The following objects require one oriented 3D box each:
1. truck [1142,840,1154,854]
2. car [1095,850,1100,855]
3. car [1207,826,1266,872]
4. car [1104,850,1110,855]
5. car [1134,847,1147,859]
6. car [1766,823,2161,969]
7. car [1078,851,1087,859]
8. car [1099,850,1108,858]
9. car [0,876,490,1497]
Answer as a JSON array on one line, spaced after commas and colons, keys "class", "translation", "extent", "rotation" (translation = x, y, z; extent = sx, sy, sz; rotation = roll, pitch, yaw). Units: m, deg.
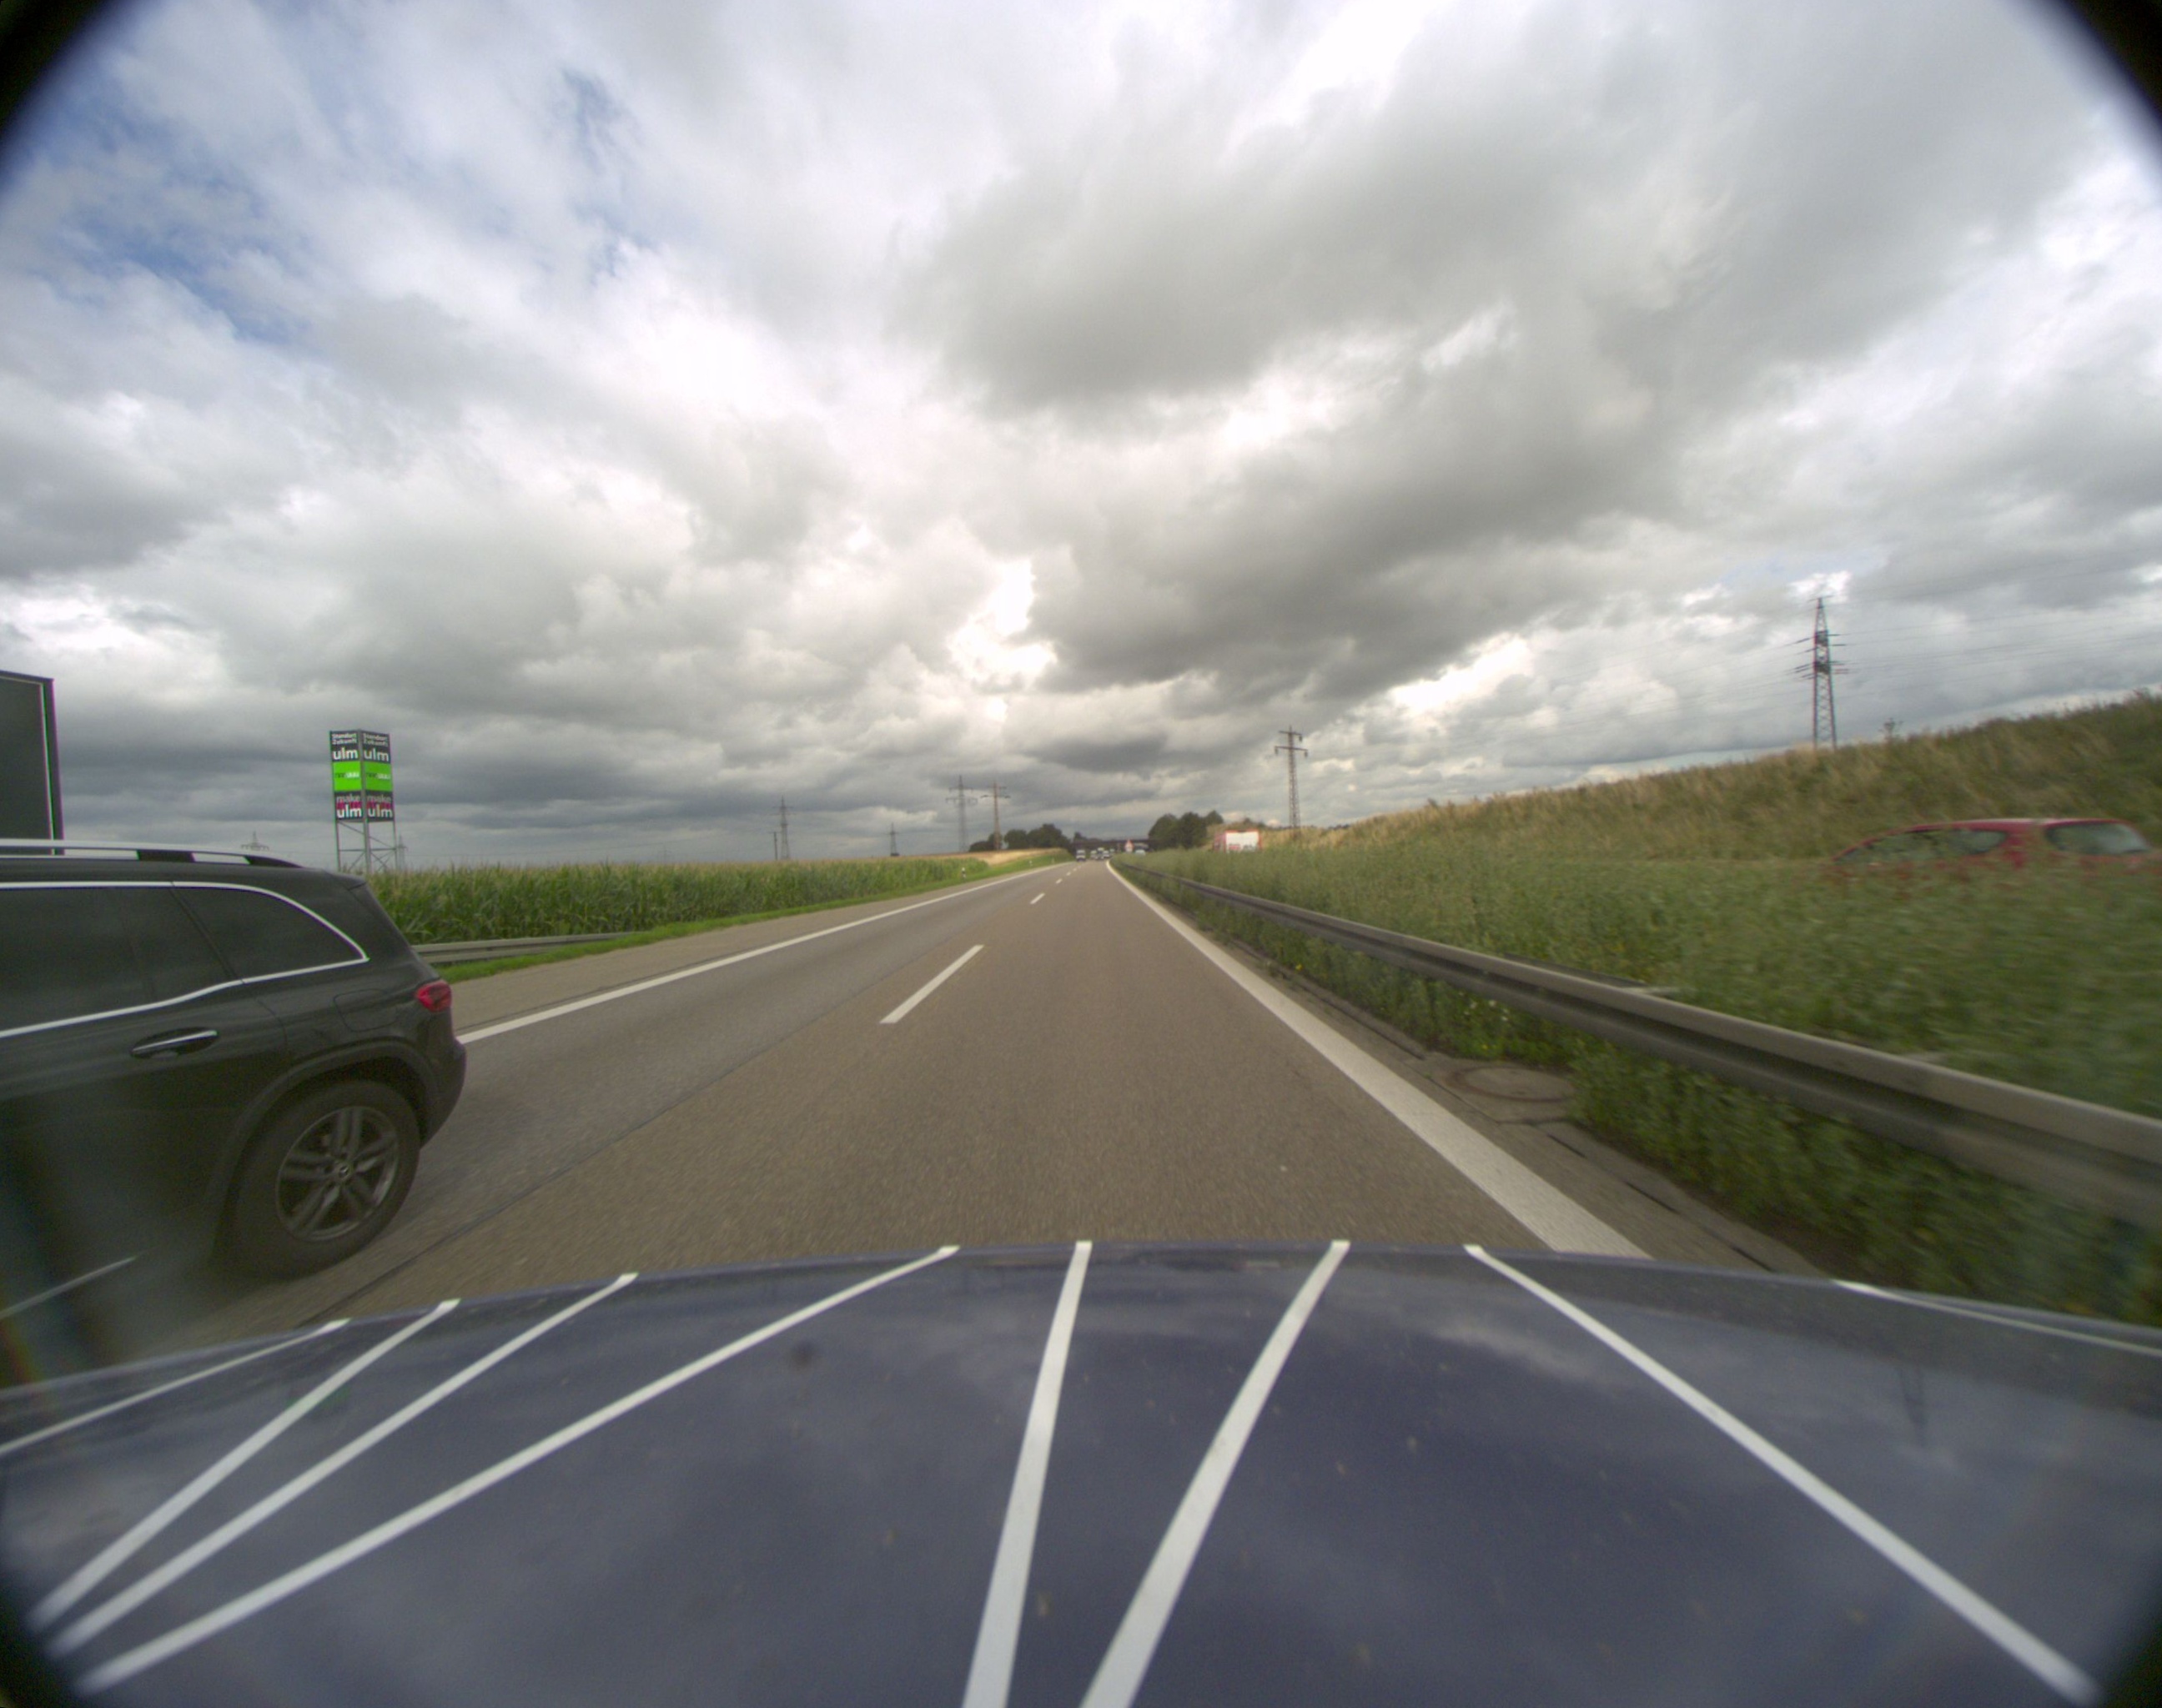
[{"class": "truck", "translation": [19.870, -2.132, 227.004], "extent": [2.729, 3.913, 17.403], "rotation": [-1, 0, 2]}, {"class": "car", "translation": [5.632, -0.578, 261.183], "extent": [1.832, 1.849, 5.790], "rotation": [-1, 1, 2]}, {"class": "car", "translation": [8.415, -0.279, 41.595], "extent": [2.129, 2.254, 5.452], "rotation": [-2, 1, 1]}, {"class": "car", "translation": [8.685, -0.531, 253.058], "extent": [1.998, 1.698, 4.000], "rotation": [-2, 0, 1]}, {"class": "car", "translation": [11.212, -0.229, 143.523], "extent": [1.998, 2.002, 5.531], "rotation": [-2, 1, 2]}, {"class": "car", "translation": [11.985, 0.429, 10.333], "extent": [1.737, 1.547, 3.999], "rotation": [-2, 1, 1]}, {"class": "car", "translation": [0.340, 0.264, 174.651], "extent": [1.998, 1.812, 4.342], "rotation": [-2, 0, 1]}, {"class": "car", "translation": [5.402, 0.012, 182.464], "extent": [1.998, 1.695, 4.663], "rotation": [-4, -1, 3]}, {"class": "car", "translation": [-3.848, 0.957, 1.501], "extent": [1.838, 1.600, 4.360], "rotation": [-2, 1, 1]}]
